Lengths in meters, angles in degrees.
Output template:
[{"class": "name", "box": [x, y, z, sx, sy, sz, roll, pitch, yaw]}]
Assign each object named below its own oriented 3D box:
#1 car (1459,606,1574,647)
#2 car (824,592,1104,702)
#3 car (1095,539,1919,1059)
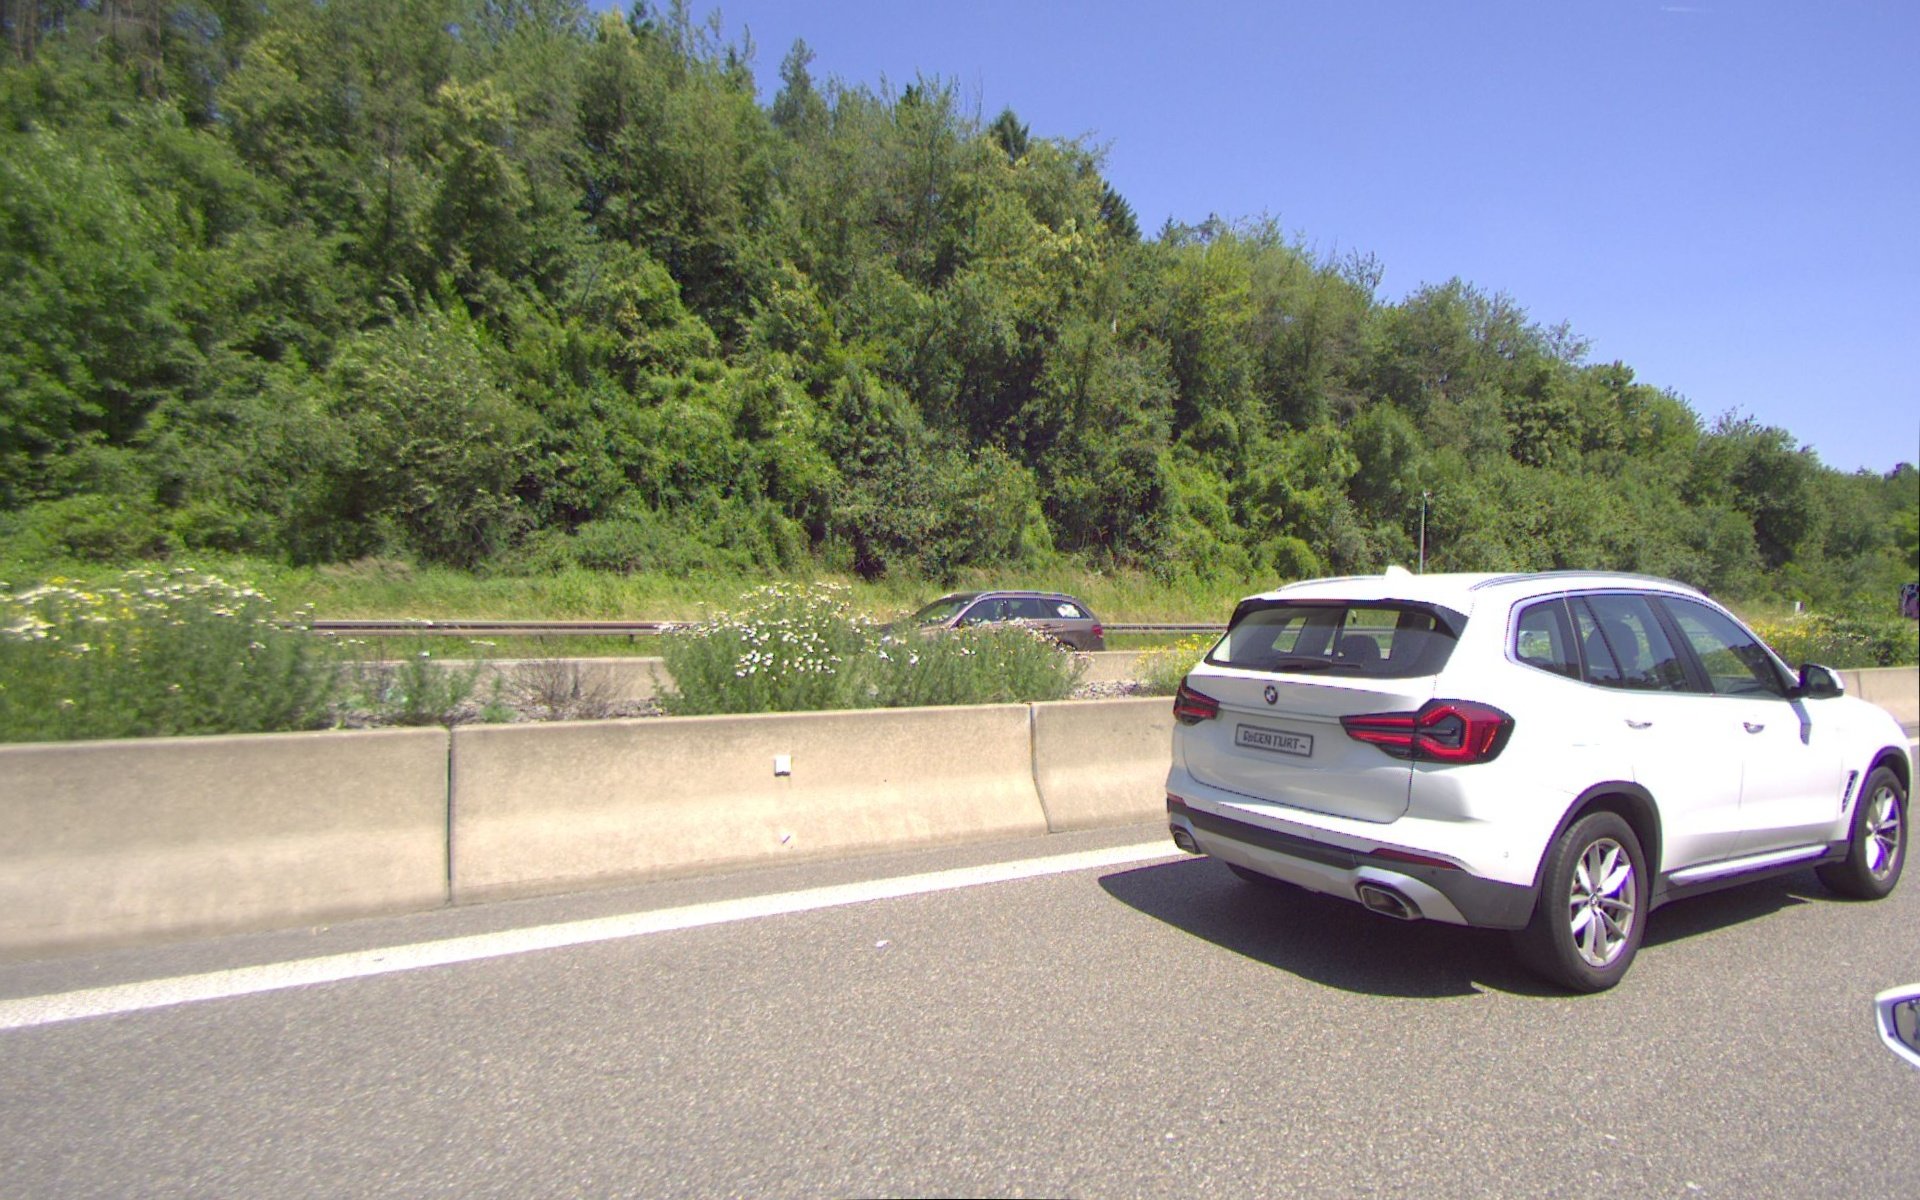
[{"class": "car", "box": [20.788, 0.978, 37.485, 4.143, 1.451, 1.983, 1, 0, -31]}, {"class": "car", "box": [0.090, 0.721, 16.631, 4.223, 1.608, 1.984, 1, 0, -30]}, {"class": "car", "box": [3.233, 0.705, 5.384, 4.899, 1.717, 1.855, 1, -1, -31]}]
